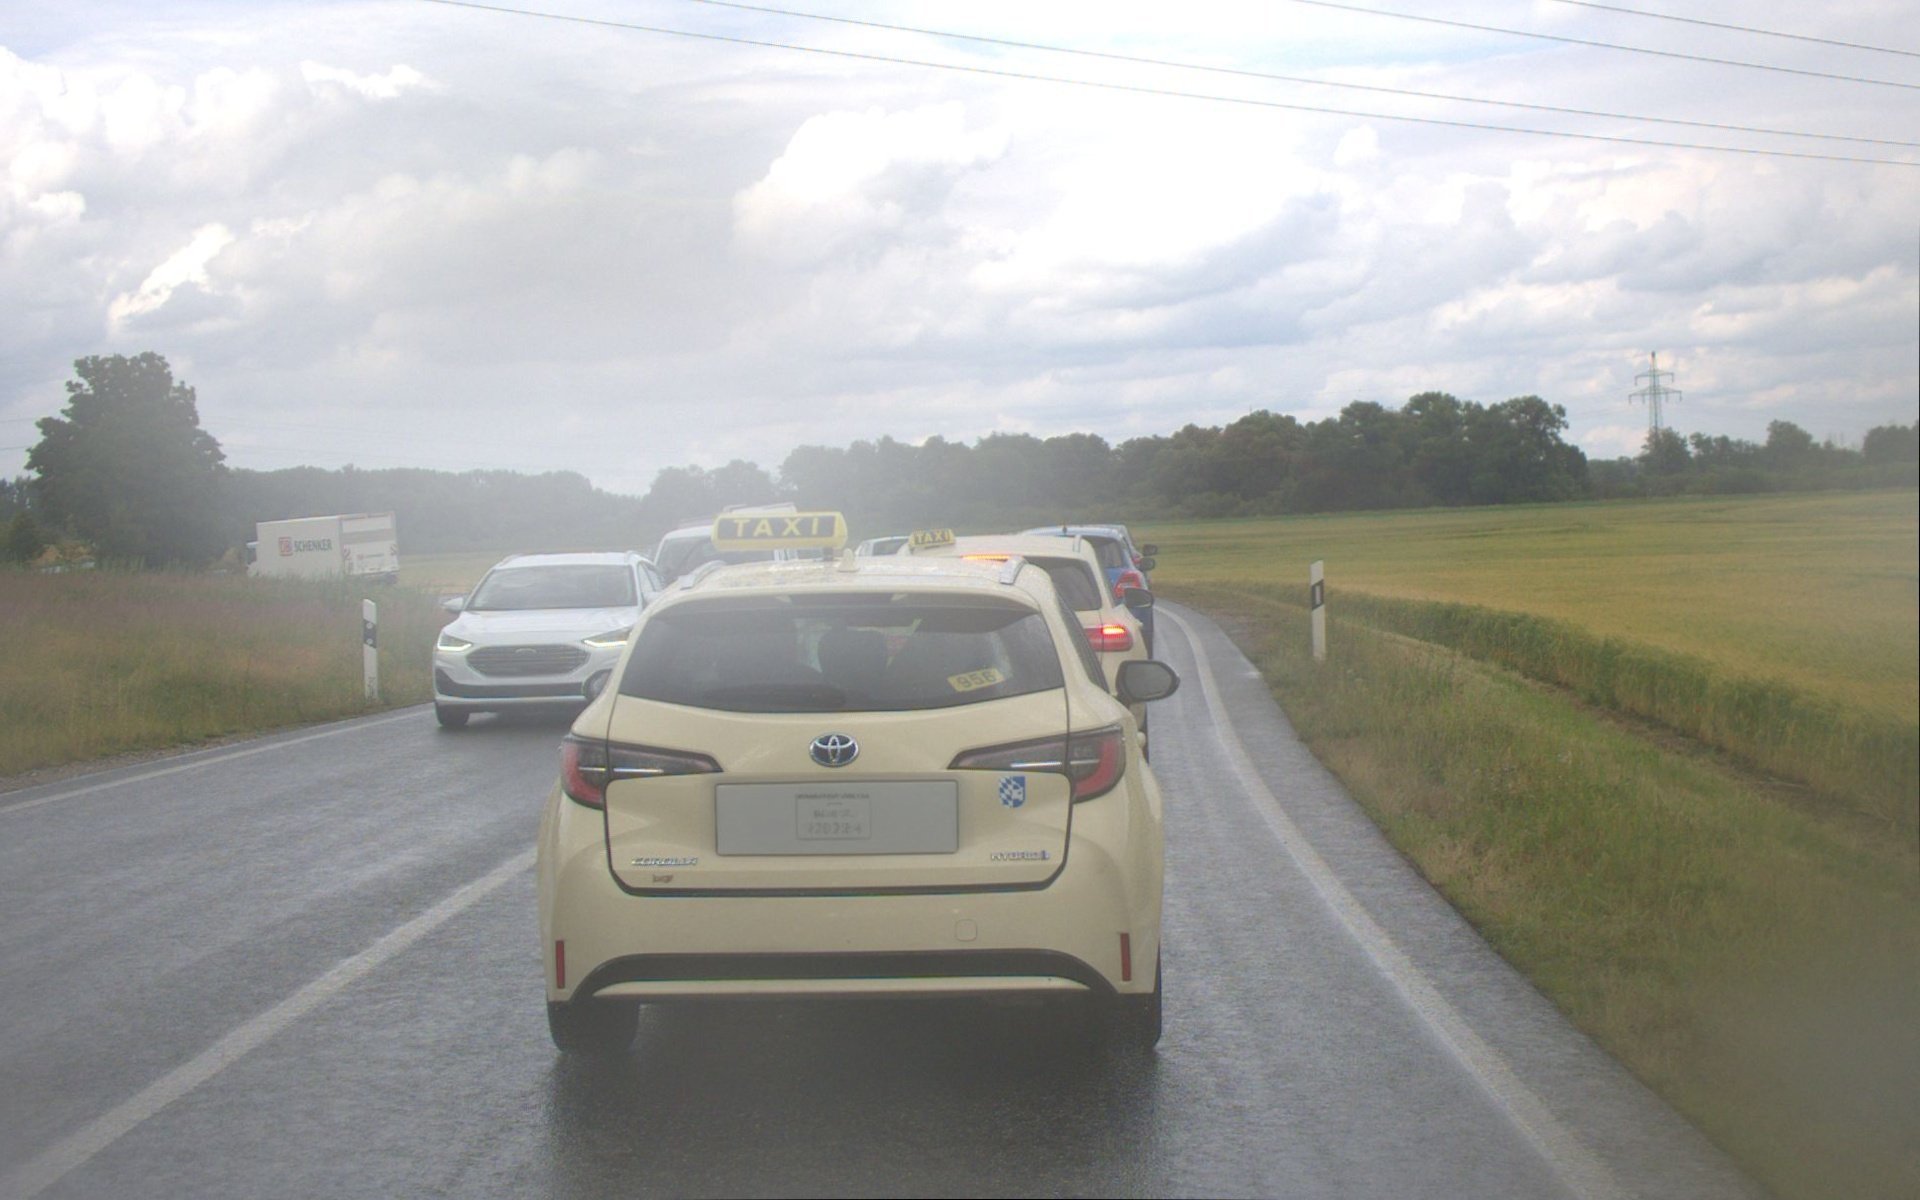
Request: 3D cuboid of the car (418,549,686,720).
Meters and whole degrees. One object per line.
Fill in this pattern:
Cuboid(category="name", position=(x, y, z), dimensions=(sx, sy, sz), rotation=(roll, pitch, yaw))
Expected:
Cuboid(category="car", position=(-3.498, 0.264, 30.172), dimensions=(1.844, 1.383, 4.287), rotation=(1, 0, 0))

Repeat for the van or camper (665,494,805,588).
Cuboid(category="van or camper", position=(-7.185, -1.852, 108.761), dimensions=(2.536, 2.886, 6.745), rotation=(0, 1, -21))

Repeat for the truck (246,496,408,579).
Cuboid(category="truck", position=(-25.732, -2.479, 139.439), dimensions=(3.014, 3.198, 8.230), rotation=(1, 0, -37))

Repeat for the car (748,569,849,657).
Cuboid(category="car", position=(-3.234, 0.226, 68.273), dimensions=(1.848, 1.626, 4.535), rotation=(-1, 1, -4))

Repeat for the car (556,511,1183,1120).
Cuboid(category="car", position=(-0.150, 0.565, 10.771), dimensions=(1.613, 1.557, 3.738), rotation=(0, 0, 3))

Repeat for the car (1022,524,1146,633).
Cuboid(category="car", position=(1.693, -0.272, 46.861), dimensions=(1.613, 1.408, 3.738), rotation=(0, 0, 2))

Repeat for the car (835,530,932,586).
Cuboid(category="car", position=(-2.056, -1.094, 91.660), dimensions=(1.783, 1.408, 3.739), rotation=(1, 0, -14))

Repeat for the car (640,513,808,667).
Cuboid(category="car", position=(-2.958, -0.134, 43.861), dimensions=(1.844, 1.849, 4.447), rotation=(1, 0, 0))

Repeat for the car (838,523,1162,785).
Cuboid(category="car", position=(0.268, 0.278, 22.004), dimensions=(1.841, 1.487, 4.608), rotation=(0, 1, 1))

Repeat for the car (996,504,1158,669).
Cuboid(category="car", position=(1.208, -0.125, 36.473), dimensions=(1.613, 1.653, 3.738), rotation=(0, 0, 1))
